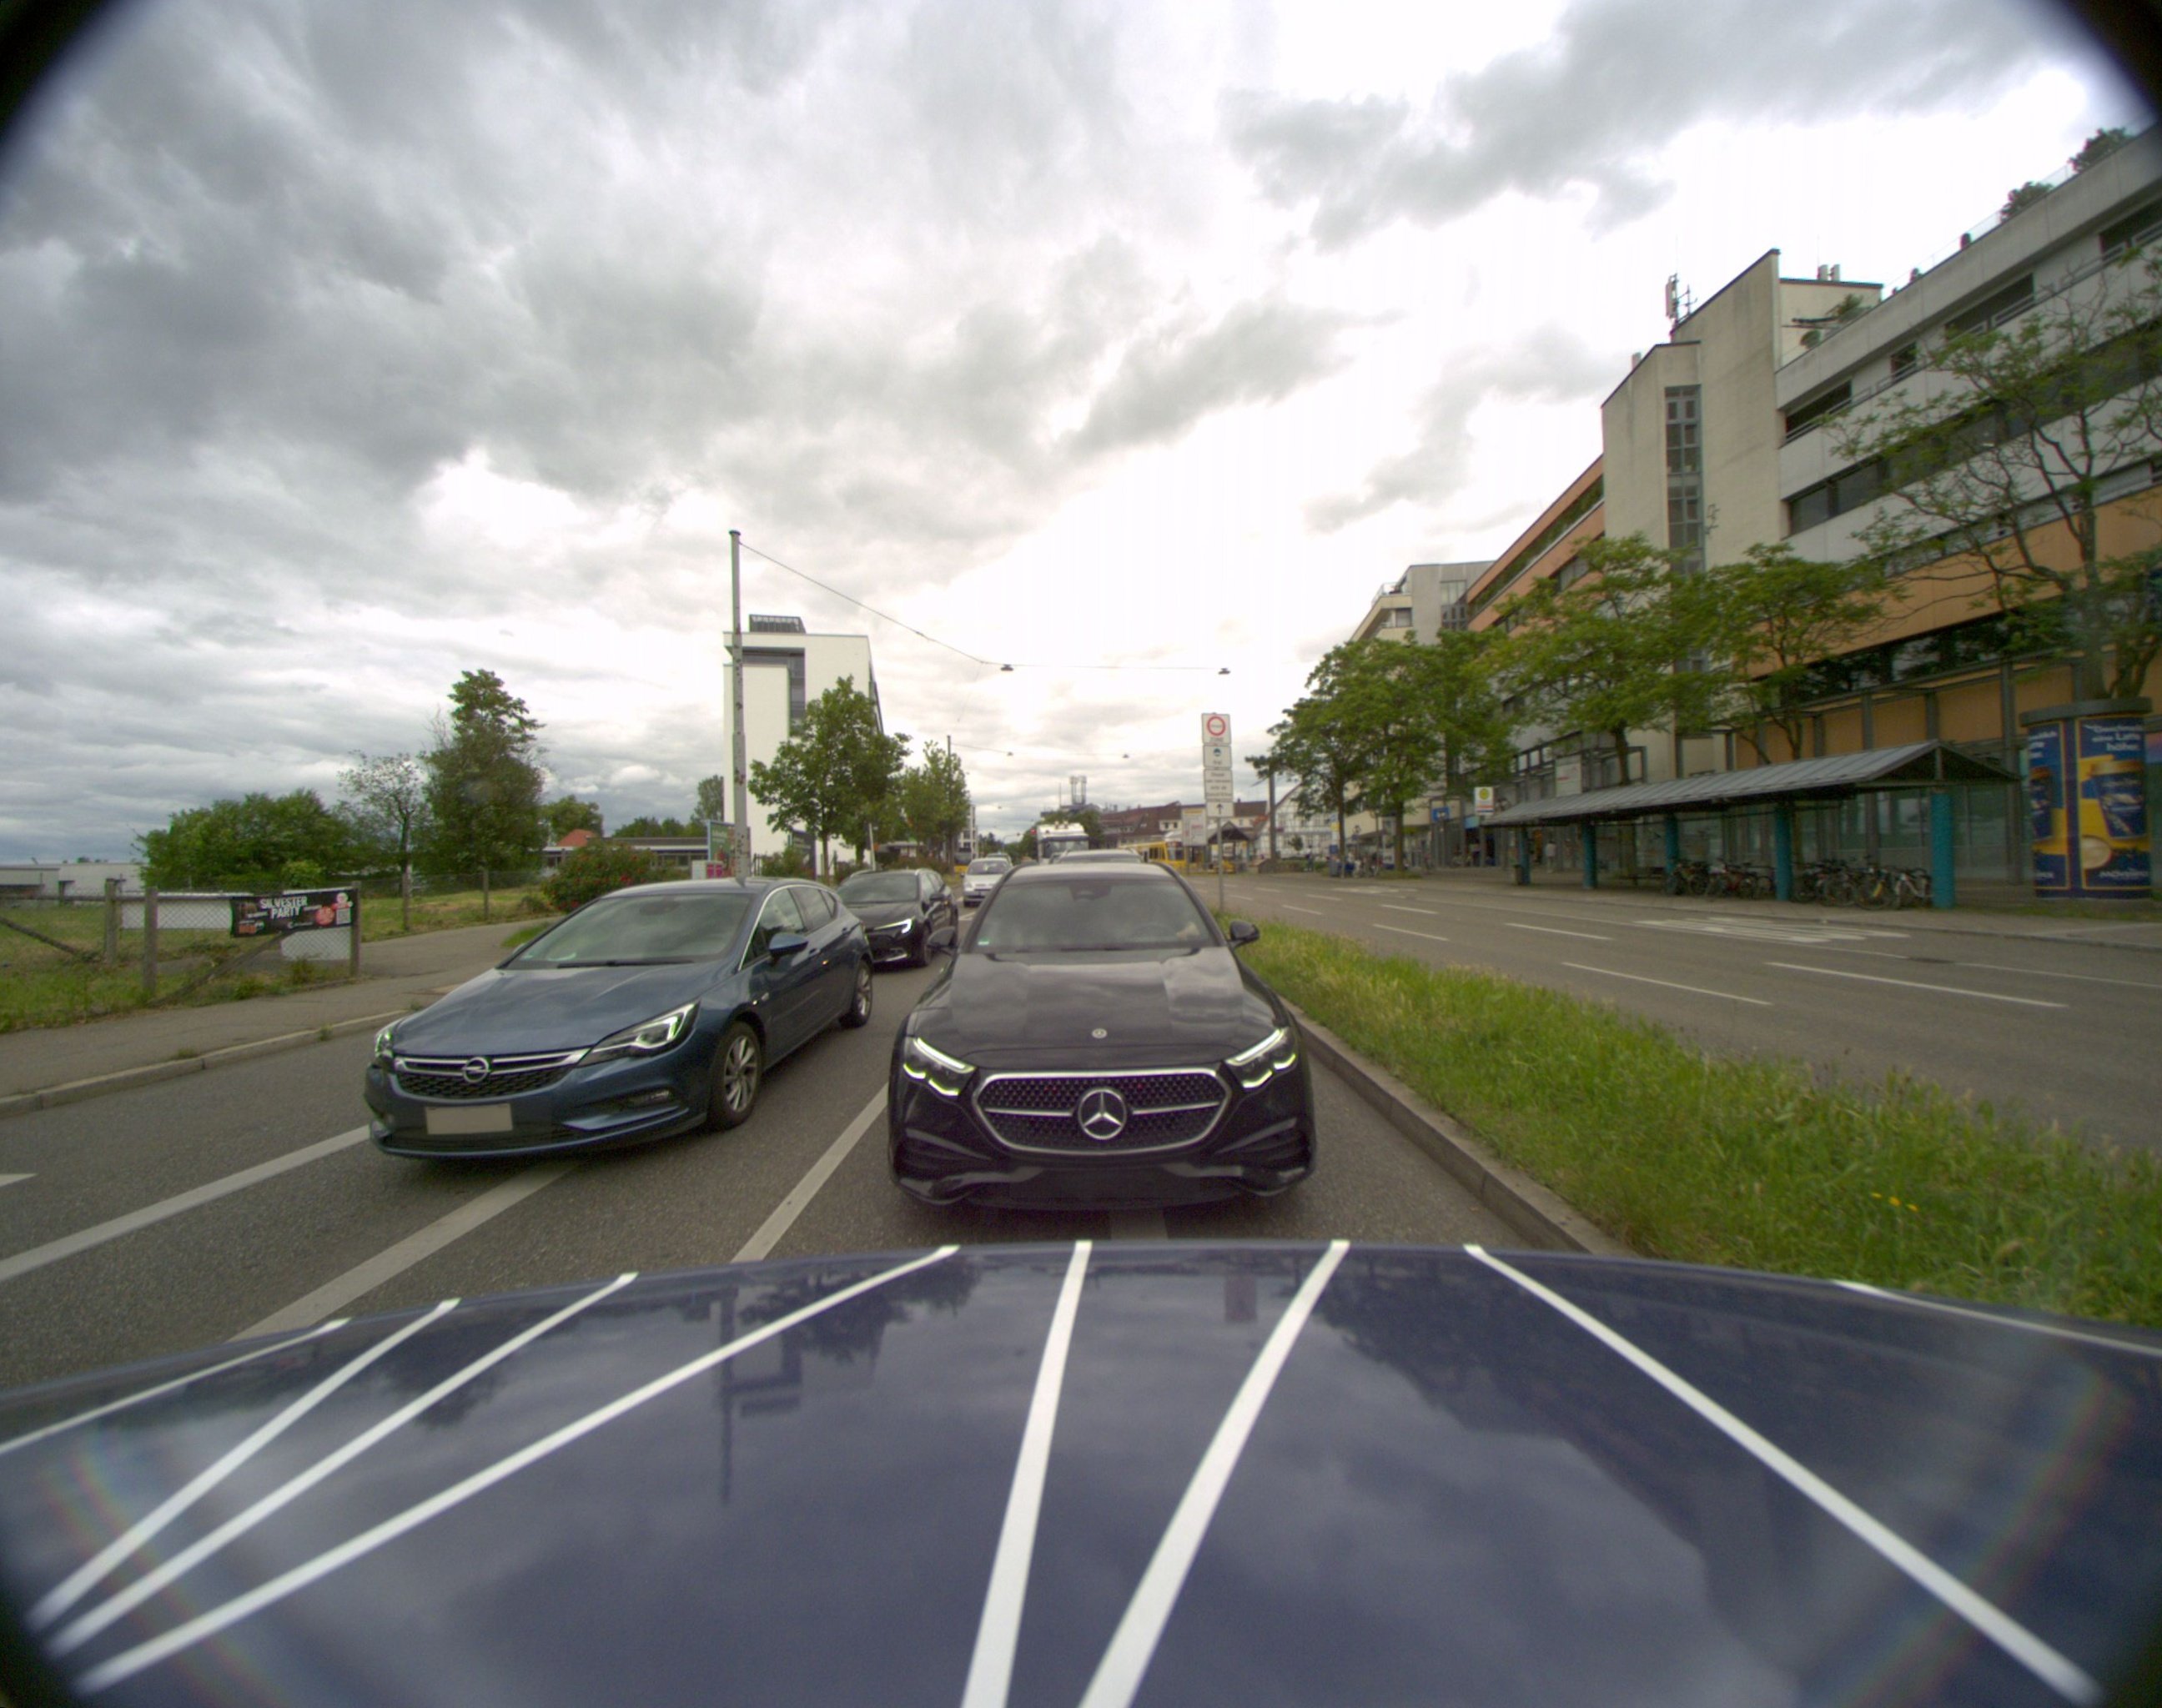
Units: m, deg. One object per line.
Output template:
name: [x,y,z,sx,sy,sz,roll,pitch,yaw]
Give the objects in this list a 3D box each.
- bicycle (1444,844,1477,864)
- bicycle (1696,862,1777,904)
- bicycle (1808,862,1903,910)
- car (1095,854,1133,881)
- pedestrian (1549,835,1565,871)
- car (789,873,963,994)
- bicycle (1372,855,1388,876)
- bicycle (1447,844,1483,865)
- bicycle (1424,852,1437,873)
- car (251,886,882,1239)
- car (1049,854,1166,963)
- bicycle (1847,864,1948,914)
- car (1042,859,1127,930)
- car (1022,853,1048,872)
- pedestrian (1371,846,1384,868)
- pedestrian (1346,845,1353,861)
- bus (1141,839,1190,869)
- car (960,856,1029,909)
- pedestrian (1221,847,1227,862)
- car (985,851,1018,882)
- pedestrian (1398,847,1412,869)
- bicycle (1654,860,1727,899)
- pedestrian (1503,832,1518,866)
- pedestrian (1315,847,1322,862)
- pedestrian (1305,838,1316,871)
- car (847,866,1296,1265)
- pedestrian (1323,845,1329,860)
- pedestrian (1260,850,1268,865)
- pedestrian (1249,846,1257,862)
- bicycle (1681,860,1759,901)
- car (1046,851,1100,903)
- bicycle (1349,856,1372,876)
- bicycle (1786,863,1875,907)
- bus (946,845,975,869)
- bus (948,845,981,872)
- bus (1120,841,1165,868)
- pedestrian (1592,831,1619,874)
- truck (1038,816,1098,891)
bicycle: [27.760,-0.020,55.556,2.138,1.358,0.620,-2,1,26]
bicycle: [17.951,0.795,20.815,1.735,1.035,0.549,-3,1,-2]
bicycle: [18.629,0.757,18.288,1.735,1.035,0.549,-3,1,-2]
car: [2.056,0.894,48.762,1.714,1.472,4.287,-6,-1,-6]
pedestrian: [24.102,-0.041,38.493,0.648,1.799,0.761,0,1,34]
car: [-3.055,1.115,12.155,1.665,1.448,3.921,-2,0,0]
bicycle: [16.405,0.628,41.650,0.593,1.071,2.041,0,1,29]
bicycle: [26.997,0.038,53.405,2.139,1.367,0.620,-2,1,18]
bicycle: [19.490,0.475,42.390,0.593,1.119,2.040,0,1,24]
car: [-2.910,1.052,5.532,1.826,1.402,4.000,-2,0,0]
car: [0.396,0.824,13.487,1.734,1.601,4.000,-1,0,0]
bicycle: [18.688,0.789,17.403,1.735,1.035,0.549,-2,1,-2]
car: [0.048,0.914,18.913,1.865,1.520,3.999,-1,0,-1]
car: [-4.350,0.778,71.080,2.000,1.674,3.997,-4,1,-8]
pedestrian: [24.514,0.241,62.731,0.765,1.835,0.752,-1,1,1]
pedestrian: [19.435,-0.098,54.973,0.341,1.172,0.369,-1,1,-9]
bus: [8.702,0.011,79.019,2.556,2.966,8.498,-1,0,-11]
car: [-2.922,0.917,26.351,1.851,1.606,3.783,-3,0,0]
pedestrian: [20.361,0.071,108.133,0.742,2.002,0.939,-1,1,11]
car: [-5.185,0.789,50.011,1.852,1.875,4.135,-3,0,-4]
pedestrian: [24.813,0.304,58.128,0.765,1.673,0.752,-1,1,1]
bicycle: [18.208,0.753,22.708,1.735,1.035,0.549,-3,1,-2]
pedestrian: [25.401,-0.306,44.952,0.566,2.002,0.611,-1,1,6]
pedestrian: [23.684,0.085,75.759,0.555,1.485,0.454,-1,1,8]
pedestrian: [16.194,0.024,53.554,0.590,2.294,0.608,-1,1,-2]
car: [-0.050,0.887,5.195,1.793,1.507,4.249,-1,0,0]
pedestrian: [24.393,-0.175,75.602,0.555,1.485,0.454,-1,1,8]
pedestrian: [19.261,0.373,80.036,0.577,1.533,0.583,-1,1,-8]
pedestrian: [22.345,-0.010,98.935,0.879,2.002,1.010,-1,1,6]
bicycle: [18.287,0.749,21.747,1.735,1.035,0.549,-4,1,-2]
car: [-0.363,0.780,28.350,1.865,1.773,3.999,-1,0,-2]
bicycle: [15.482,0.660,42.022,0.593,1.071,2.041,0,1,38]
bicycle: [19.028,0.780,19.313,1.735,1.035,0.549,-2,1,-2]
bus: [-15.219,0.350,95.055,2.969,2.616,12.911,-2,1,-11]
bus: [-12.813,0.395,82.732,2.969,2.616,12.137,-2,1,-11]
bus: [6.940,0.077,87.957,2.556,2.966,9.790,-1,0,-11]
pedestrian: [25.287,-0.071,36.659,0.710,2.002,0.794,-2,1,-5]
truck: [-0.763,-0.039,36.729,2.490,3.258,7.428,-1,0,-4]
